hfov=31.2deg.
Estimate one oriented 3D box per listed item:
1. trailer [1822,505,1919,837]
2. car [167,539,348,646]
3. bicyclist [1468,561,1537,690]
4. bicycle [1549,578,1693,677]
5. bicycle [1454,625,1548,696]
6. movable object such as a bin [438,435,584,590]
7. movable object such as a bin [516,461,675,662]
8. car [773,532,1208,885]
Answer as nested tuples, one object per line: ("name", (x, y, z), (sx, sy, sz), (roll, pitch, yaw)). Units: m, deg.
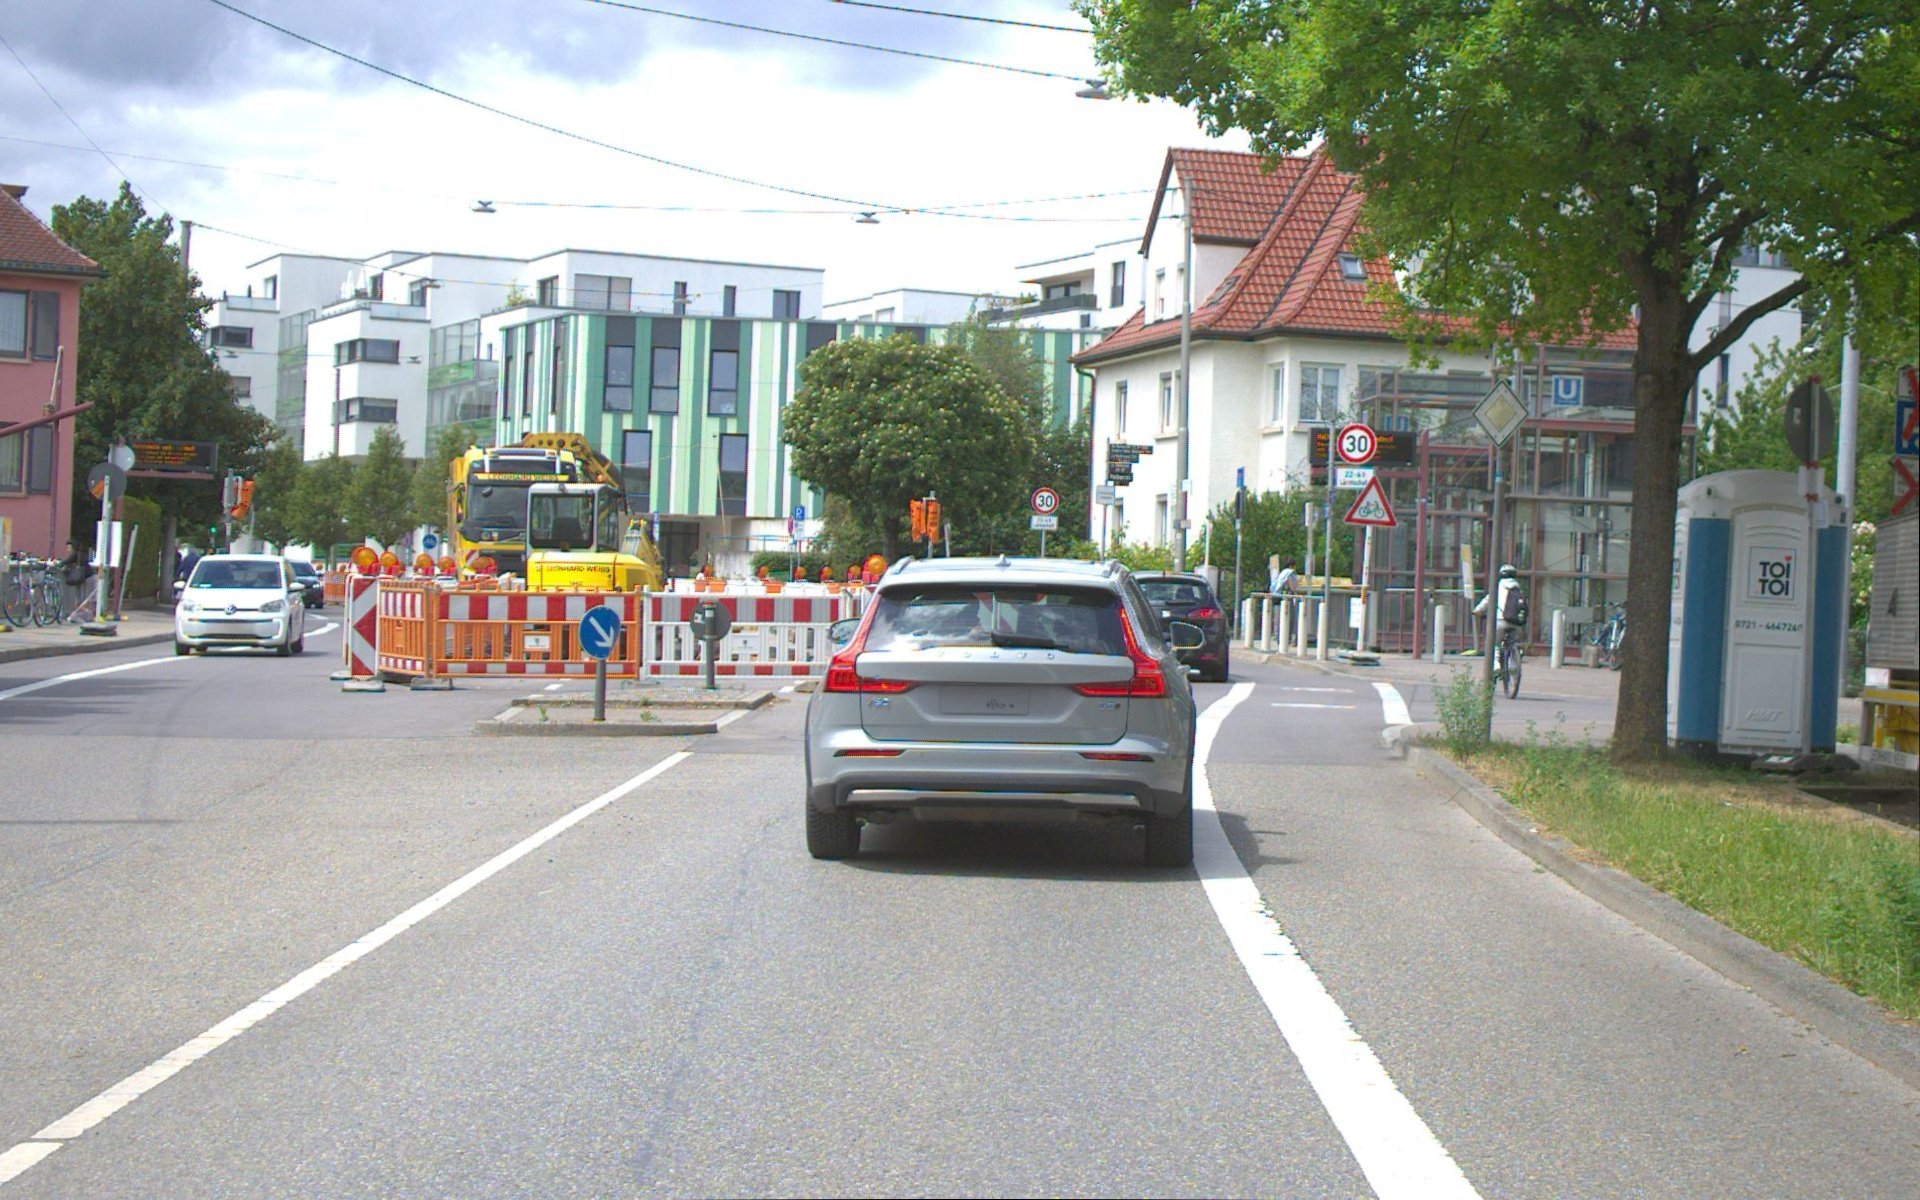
("trailer", (7.065, 0.494, 20.584), (2.389, 2.025, 5.512), (3, 0, 1))
("car", (-10.289, -0.079, 50.629), (1.887, 1.503, 4.000), (0, -1, -1))
("bicyclist", (6.731, 0.317, 42.672), (0.589, 1.553, 0.567), (5, -1, -8))
("bicycle", (9.810, 0.386, 51.214), (1.391, 1.186, 3.472), (5, 3, 0))
("bicycle", (6.700, 0.741, 42.614), (0.594, 0.809, 1.754), (5, -1, -8))
("movable object such as a bin", (-9.393, -1.795, 71.428), (2.310, 2.980, 6.429), (2, 1, -13))
("movable object such as a bin", (-5.144, -0.562, 49.155), (2.034, 2.634, 5.941), (2, 1, -5))
("car", (0.265, 0.465, 17.526), (1.928, 1.535, 4.000), (2, 1, 4))
